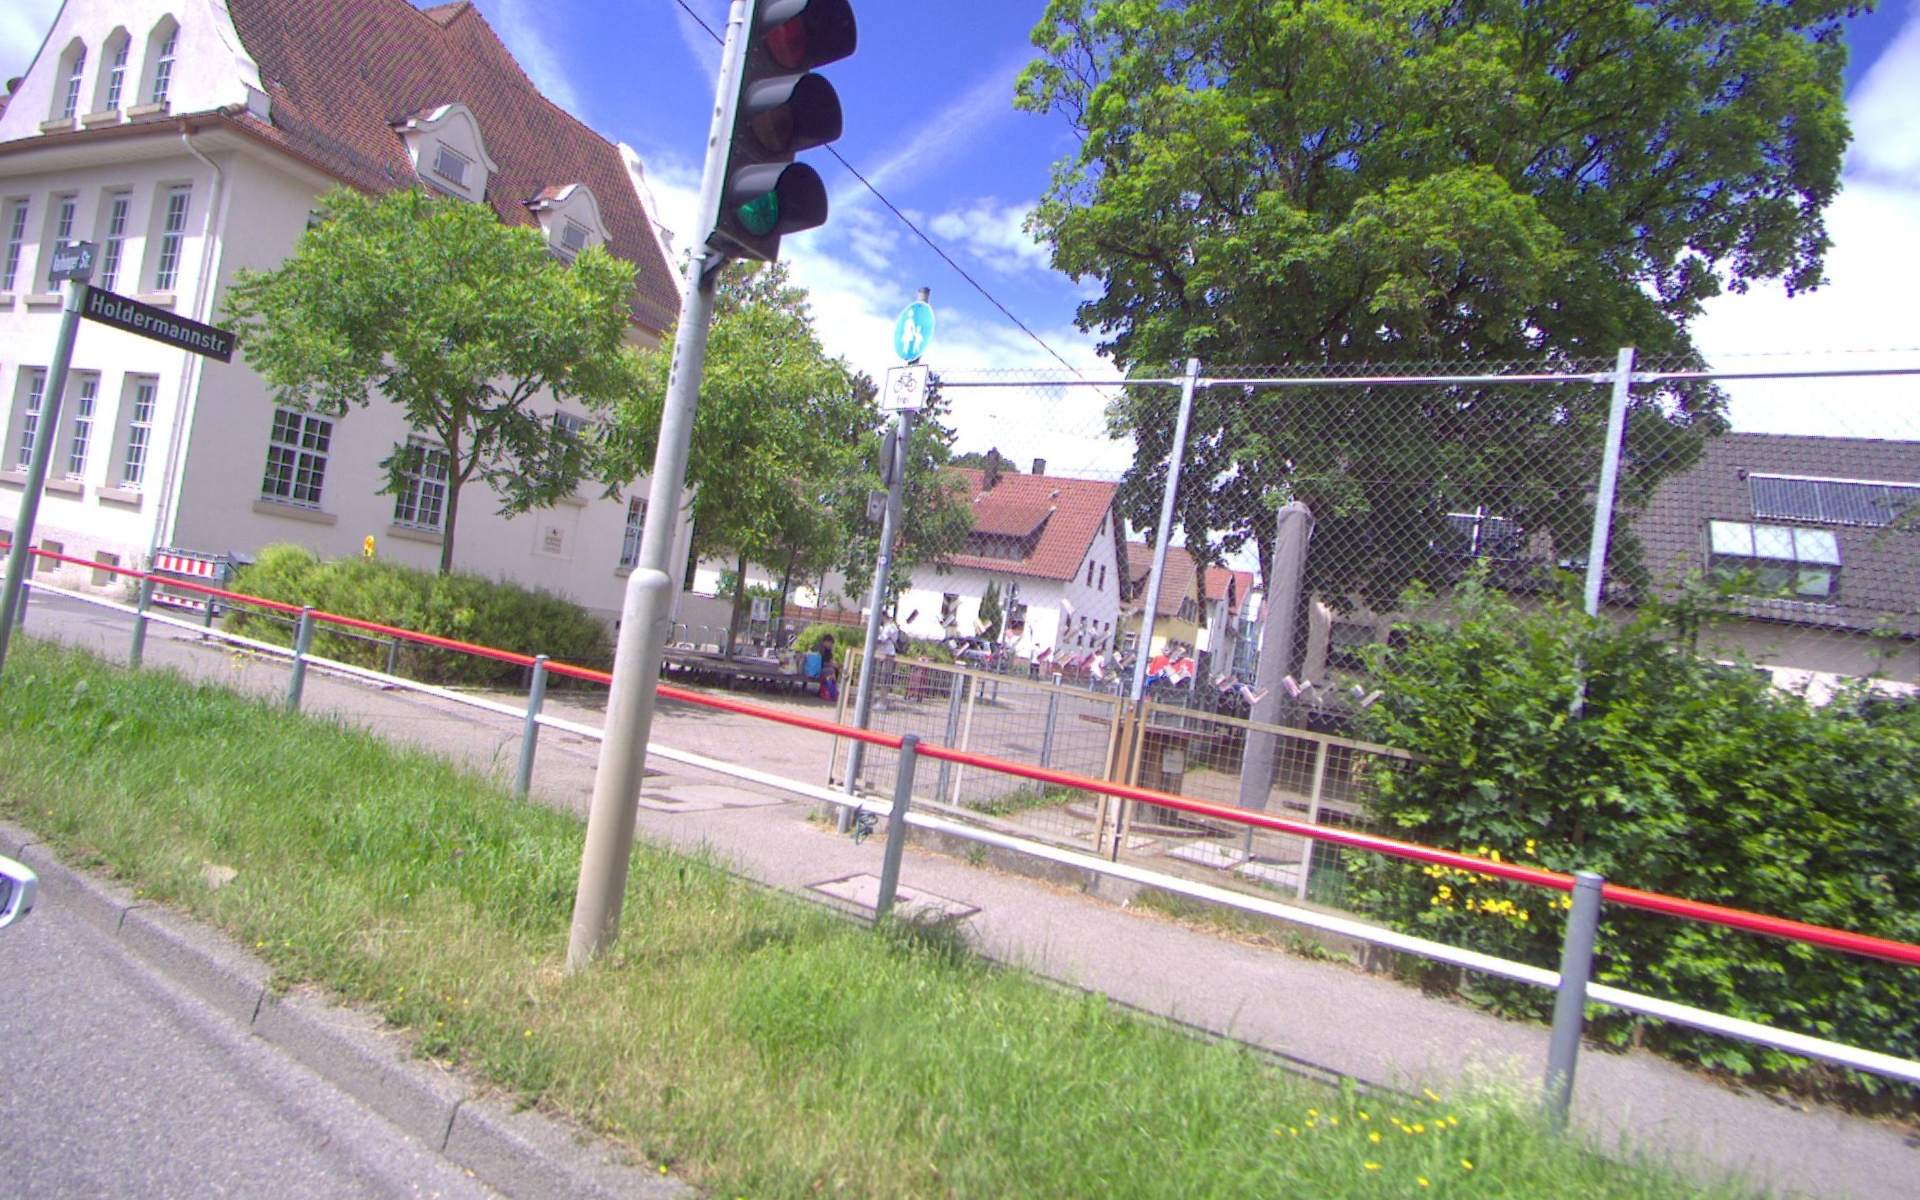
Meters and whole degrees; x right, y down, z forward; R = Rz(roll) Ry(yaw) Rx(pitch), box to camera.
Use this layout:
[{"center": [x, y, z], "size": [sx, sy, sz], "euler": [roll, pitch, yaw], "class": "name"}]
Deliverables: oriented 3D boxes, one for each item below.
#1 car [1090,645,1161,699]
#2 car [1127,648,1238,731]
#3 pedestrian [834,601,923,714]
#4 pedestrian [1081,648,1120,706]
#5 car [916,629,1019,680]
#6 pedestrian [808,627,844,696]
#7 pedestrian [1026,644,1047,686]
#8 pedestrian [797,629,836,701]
[{"center": [7.396, 3.222, 44.689], "size": [1.820, 2.036, 4.000], "euler": [6, -2, 26], "class": "car"}, {"center": [6.844, 2.763, 30.621], "size": [1.966, 2.036, 3.998], "euler": [10, -1, 29], "class": "car"}, {"center": [-1.497, 1.064, 18.588], "size": [1.126, 1.839, 0.751], "euler": [11, 0, 21], "class": "pedestrian"}, {"center": [4.592, 2.514, 32.801], "size": [0.835, 1.745, 0.758], "euler": [6, -3, 27], "class": "pedestrian"}, {"center": [0.322, 2.295, 42.457], "size": [3.798, 1.651, 1.776], "euler": [6, -2, 28], "class": "car"}, {"center": [-2.552, 1.170, 19.155], "size": [0.453, 1.244, 0.406], "euler": [7, -1, 6], "class": "pedestrian"}, {"center": [3.206, 2.712, 42.226], "size": [0.601, 1.675, 0.432], "euler": [7, -1, 26], "class": "pedestrian"}, {"center": [-2.615, 1.180, 18.347], "size": [0.453, 1.244, 0.406], "euler": [7, -1, 6], "class": "pedestrian"}]
